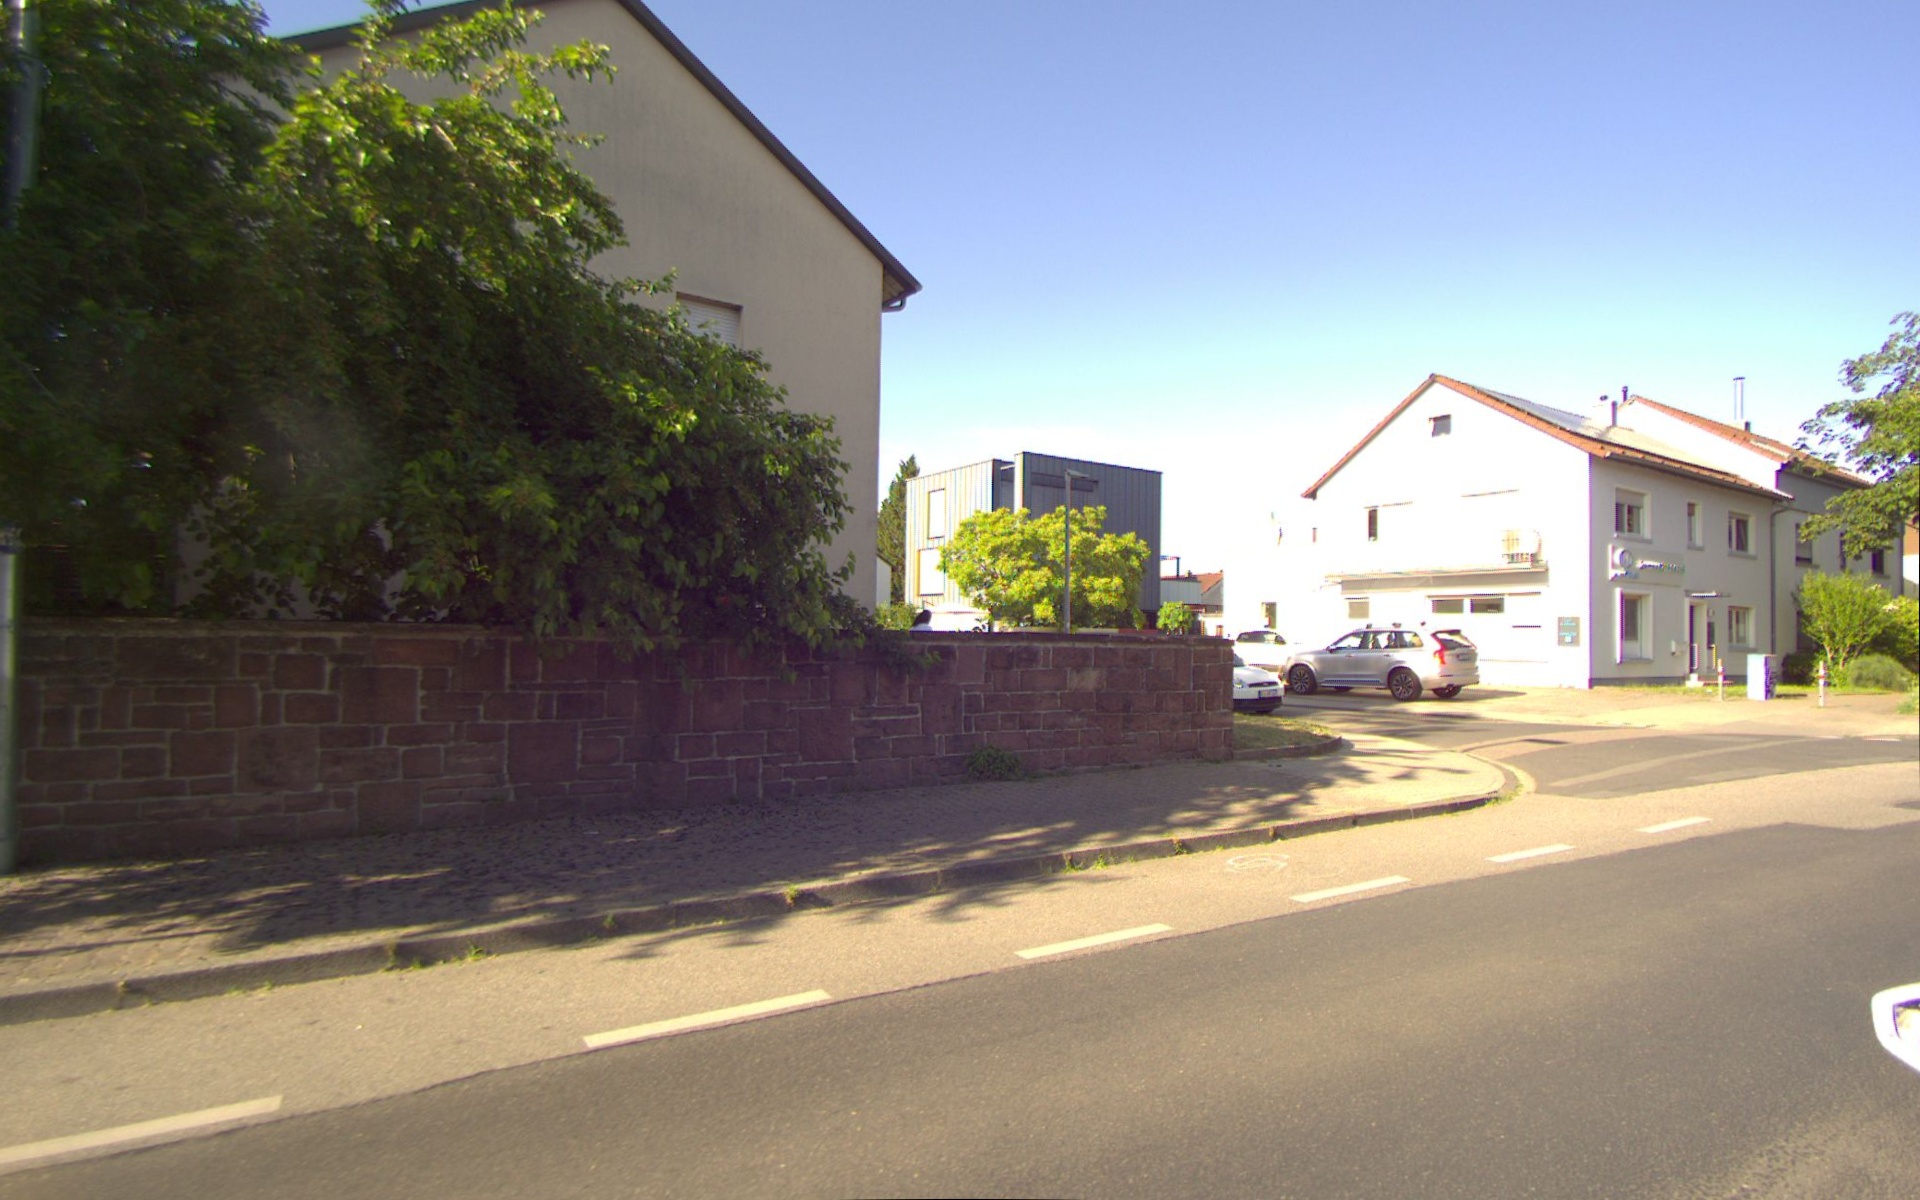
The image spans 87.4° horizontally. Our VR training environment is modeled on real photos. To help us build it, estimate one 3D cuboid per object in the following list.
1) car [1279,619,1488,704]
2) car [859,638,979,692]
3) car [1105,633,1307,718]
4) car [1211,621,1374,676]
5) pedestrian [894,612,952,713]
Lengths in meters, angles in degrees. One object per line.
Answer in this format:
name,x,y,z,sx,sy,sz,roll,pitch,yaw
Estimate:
car,10.490,1.474,25.210,1.978,1.862,4.464,-2,-1,-33
car,-1.264,1.852,29.316,1.851,1.415,3.744,0,-2,-34
car,4.846,1.444,20.235,1.850,1.498,3.747,0,-2,-32
car,10.223,1.537,31.198,1.981,1.575,4.471,1,-4,-36
pedestrian,-0.603,0.993,16.367,0.633,1.574,0.779,0,0,-34
